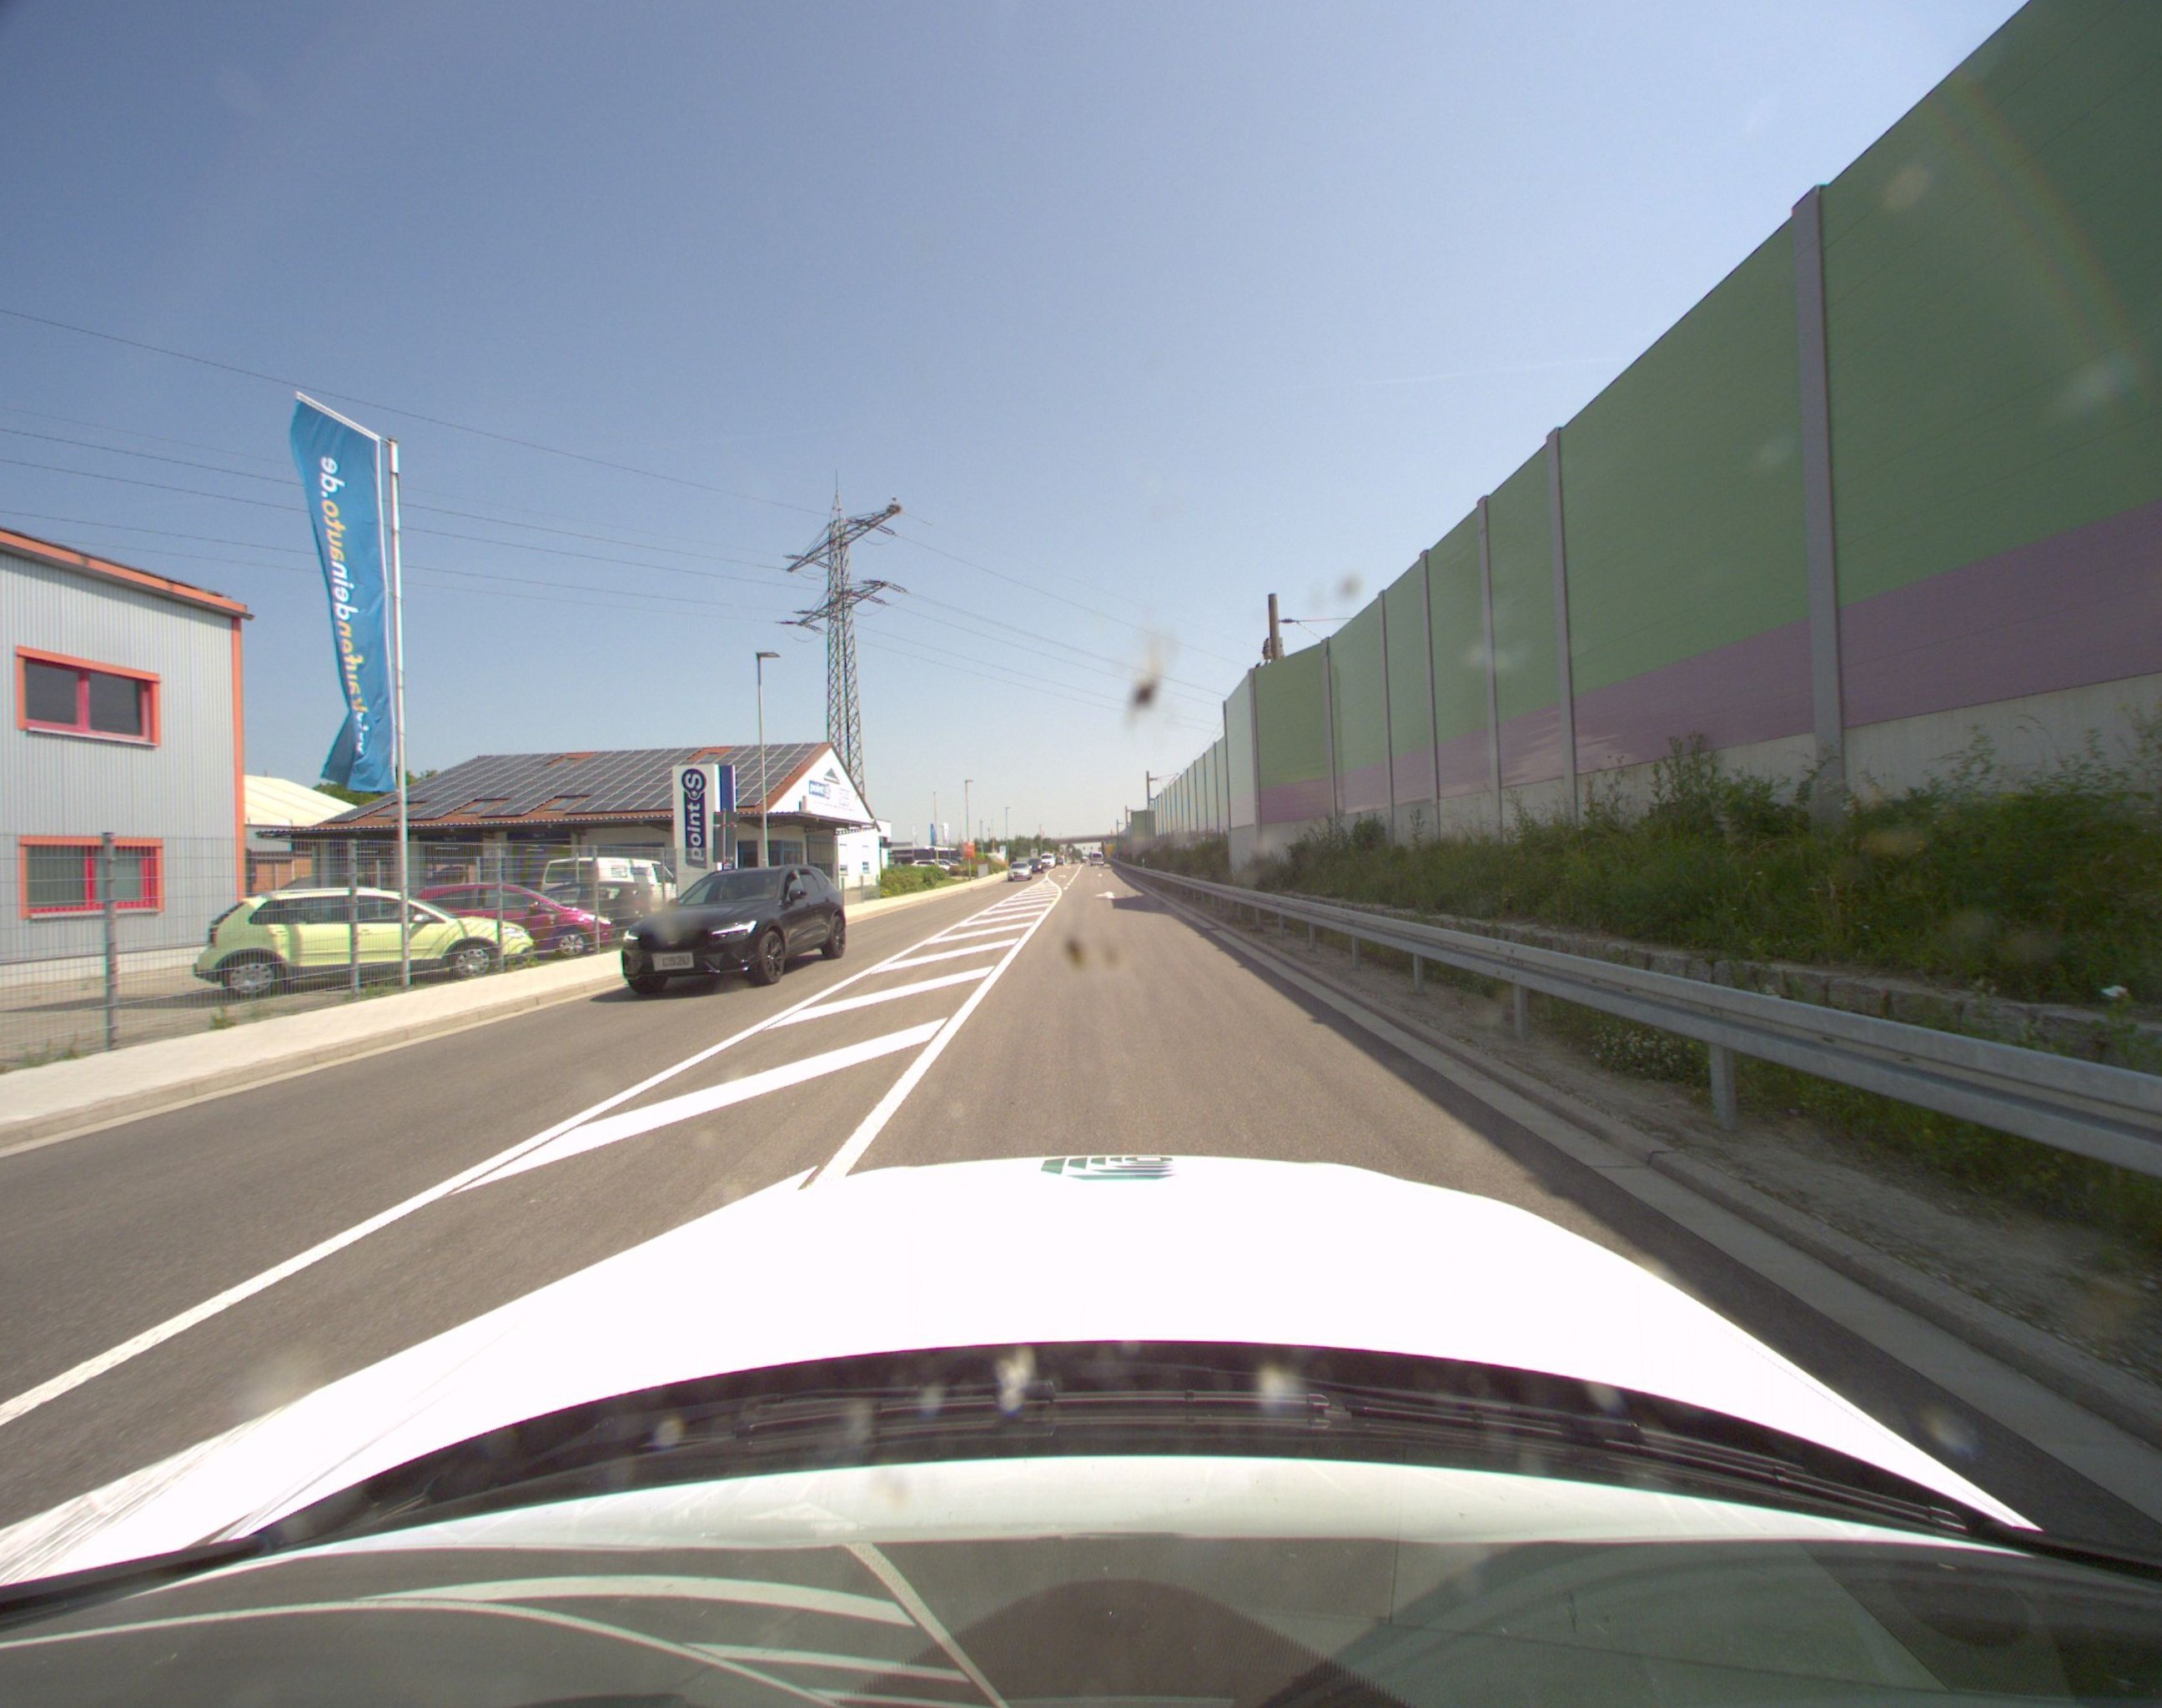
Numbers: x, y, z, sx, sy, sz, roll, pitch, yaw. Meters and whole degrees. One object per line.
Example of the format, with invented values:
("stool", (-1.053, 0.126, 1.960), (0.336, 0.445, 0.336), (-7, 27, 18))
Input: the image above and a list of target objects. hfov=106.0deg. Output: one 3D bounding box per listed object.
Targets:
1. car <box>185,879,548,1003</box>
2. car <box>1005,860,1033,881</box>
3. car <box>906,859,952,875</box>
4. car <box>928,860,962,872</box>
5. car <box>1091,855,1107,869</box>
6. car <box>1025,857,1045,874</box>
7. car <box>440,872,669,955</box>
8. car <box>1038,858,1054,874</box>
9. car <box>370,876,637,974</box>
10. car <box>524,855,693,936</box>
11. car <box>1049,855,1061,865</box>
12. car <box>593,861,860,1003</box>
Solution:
("car", (-11.012, 1.242, 13.007), (4.111, 1.493, 1.725), (-2, 0, -35))
("car", (-4.807, 1.281, 63.404), (1.759, 1.466, 4.258), (-4, 0, 0))
("car", (-15.023, 1.281, 80.752), (4.212, 1.456, 1.763), (0, 0, -2))
("car", (-15.005, 1.300, 89.677), (3.499, 1.254, 1.504), (0, 0, -2))
("car", (2.423, 1.053, 108.600), (1.986, 1.757, 4.002), (-2, 0, 2))
("car", (-4.727, 1.147, 83.893), (1.663, 1.600, 3.972), (-4, 0, 0))
("car", (-11.468, 1.239, 18.093), (4.007, 1.493, 1.729), (-2, 0, -25))
("car", (-4.504, 1.511, 105.251), (1.989, 1.874, 5.165), (-3, -1, -2))
("car", (-10.990, 1.271, 15.834), (4.015, 1.493, 1.726), (-2, 0, -32))
("car", (-13.408, 1.120, 23.522), (1.986, 2.014, 4.682), (-3, -1, 2))
("car", (-4.128, 0.961, 128.114), (1.665, 1.423, 4.000), (-4, 0, 0))
("car", (-5.077, 1.006, 12.501), (1.874, 1.616, 4.524), (-5, 0, 2))
